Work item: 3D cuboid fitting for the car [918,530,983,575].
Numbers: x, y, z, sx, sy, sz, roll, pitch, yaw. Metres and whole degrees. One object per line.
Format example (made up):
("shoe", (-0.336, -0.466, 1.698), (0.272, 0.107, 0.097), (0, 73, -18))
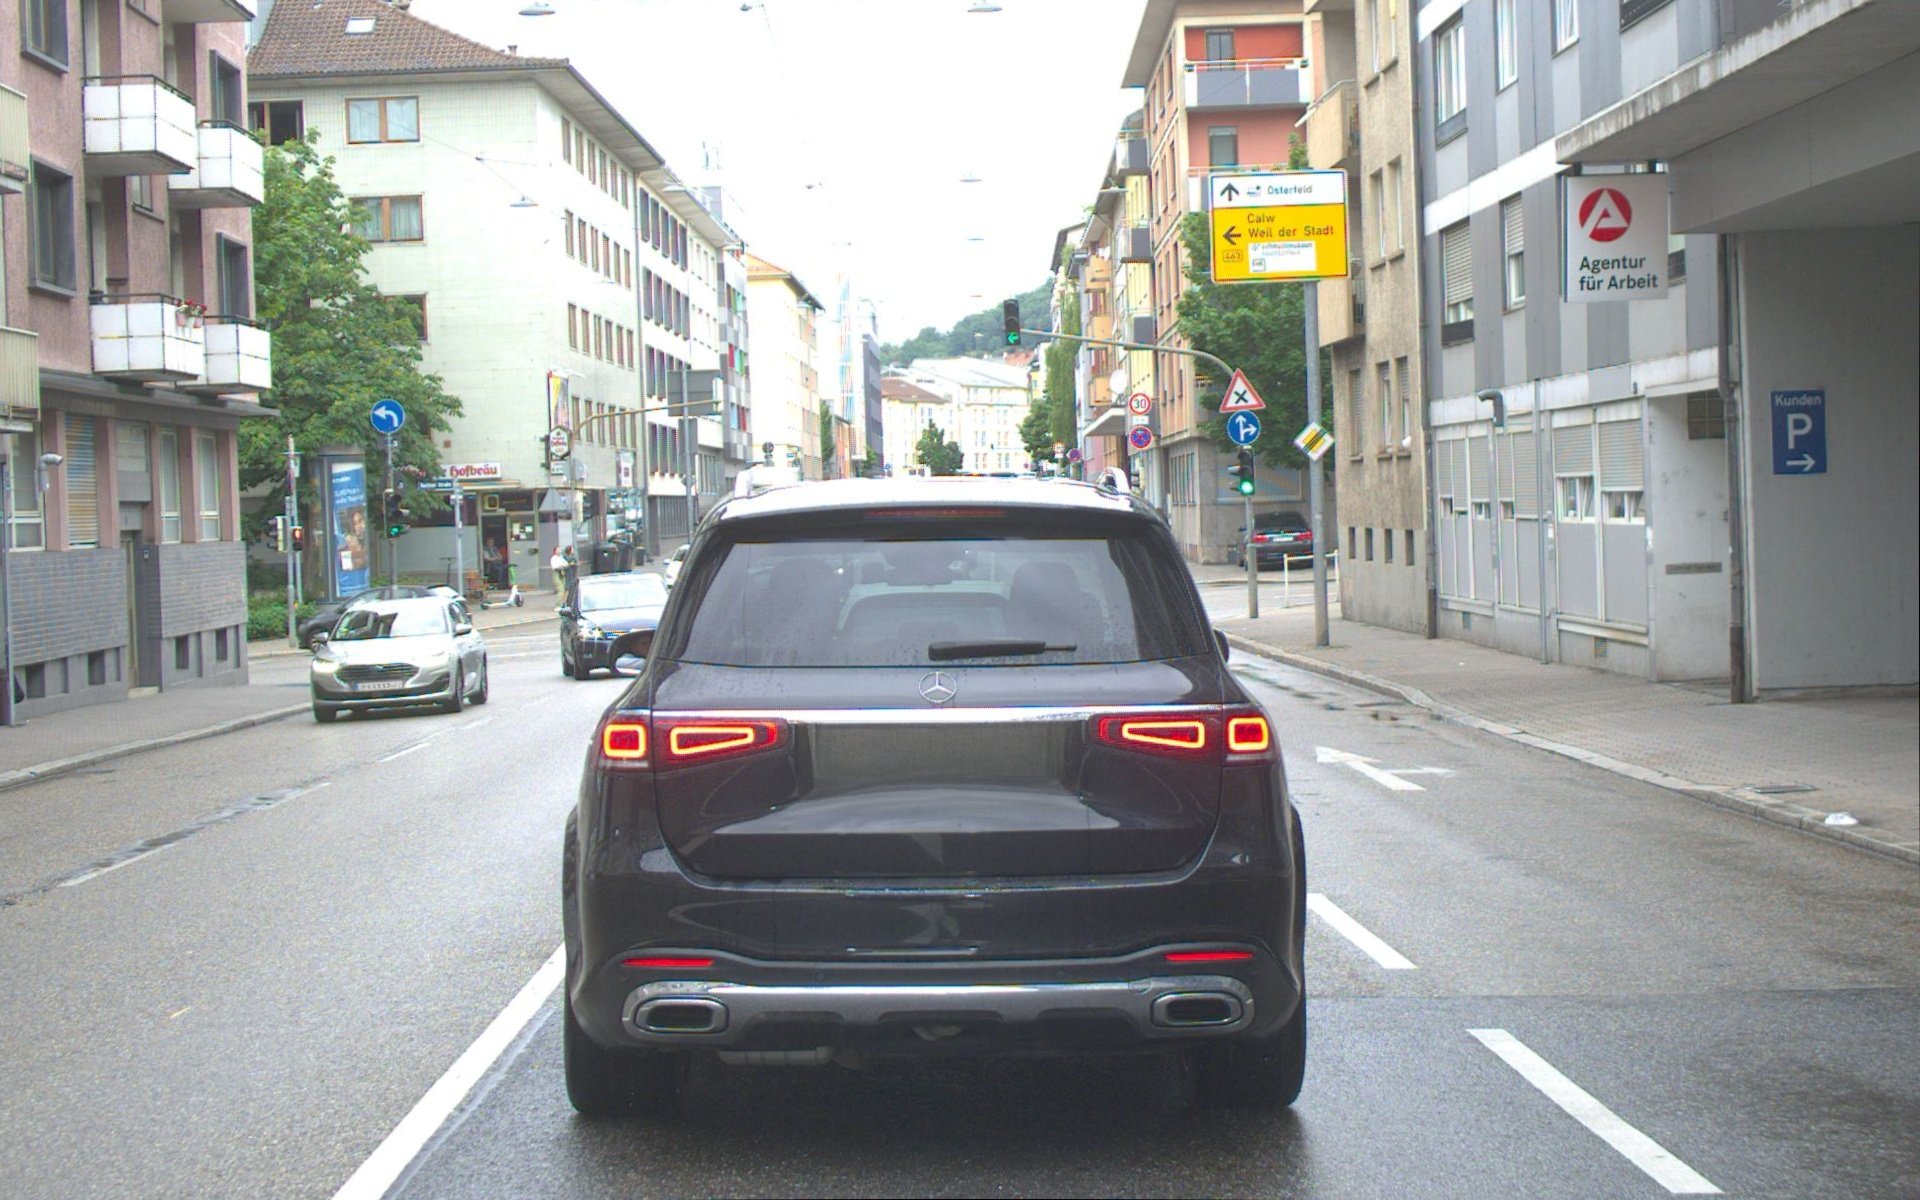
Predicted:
("car", (-0.327, -1.553, 112.287), (1.993, 1.347, 4.000), (-3, 1, -1))

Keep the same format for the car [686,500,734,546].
("car", (-9.251, -2.850, 127.471), (1.618, 1.534, 4.218), (-3, 0, -3))

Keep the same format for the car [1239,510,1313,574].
("car", (8.297, -1.522, 90.472), (1.671, 1.583, 3.330), (-2, 1, 2))

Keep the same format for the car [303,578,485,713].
("car", (-7.107, 0.554, 43.521), (1.772, 1.534, 4.359), (-3, 0, -4))

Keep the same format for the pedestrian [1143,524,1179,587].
("pedestrian", (5.881, -1.310, 100.537), (0.923, 1.798, 0.706), (-2, 1, -2))

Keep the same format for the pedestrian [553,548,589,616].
("pedestrian", (-10.244, -0.486, 90.443), (0.636, 1.758, 0.772), (-2, 1, 17))

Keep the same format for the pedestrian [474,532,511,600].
("pedestrian", (-13.297, -0.966, 97.879), (0.923, 1.895, 0.706), (-2, 1, -2))

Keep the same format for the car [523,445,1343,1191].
("car", (-0.090, 0.540, 10.680), (1.985, 1.799, 4.390), (1, 0, -1))

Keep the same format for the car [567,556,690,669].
("car", (-5.359, 0.164, 55.267), (1.772, 1.640, 4.413), (-3, 1, -7))

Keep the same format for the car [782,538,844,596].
("car", (-4.160, -0.917, 97.081), (1.618, 1.534, 4.218), (-3, 0, -3))

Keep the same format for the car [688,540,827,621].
("car", (-4.290, -0.396, 72.306), (1.772, 1.534, 4.360), (-3, 0, -19))

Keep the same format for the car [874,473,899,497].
("car", (-5.296, -8.219, 246.075), (1.618, 1.534, 4.218), (-3, 0, -3))

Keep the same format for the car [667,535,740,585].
("car", (-7.176, -1.113, 96.482), (1.885, 1.260, 4.218), (-3, 0, -3))

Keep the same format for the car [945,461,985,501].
("car", (0.240, -5.983, 173.468), (1.723, 1.754, 4.218), (-3, 0, -3))

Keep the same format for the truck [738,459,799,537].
("truck", (-8.498, -4.468, 152.906), (2.479, 3.035, 9.921), (-3, 0, -3))

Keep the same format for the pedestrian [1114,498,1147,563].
("pedestrian", (5.351, -2.181, 108.085), (0.923, 2.007, 0.706), (-2, 1, -2))

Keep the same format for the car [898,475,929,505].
("car", (-2.764, -6.460, 202.279), (1.618, 1.534, 4.218), (-3, 0, -3))
